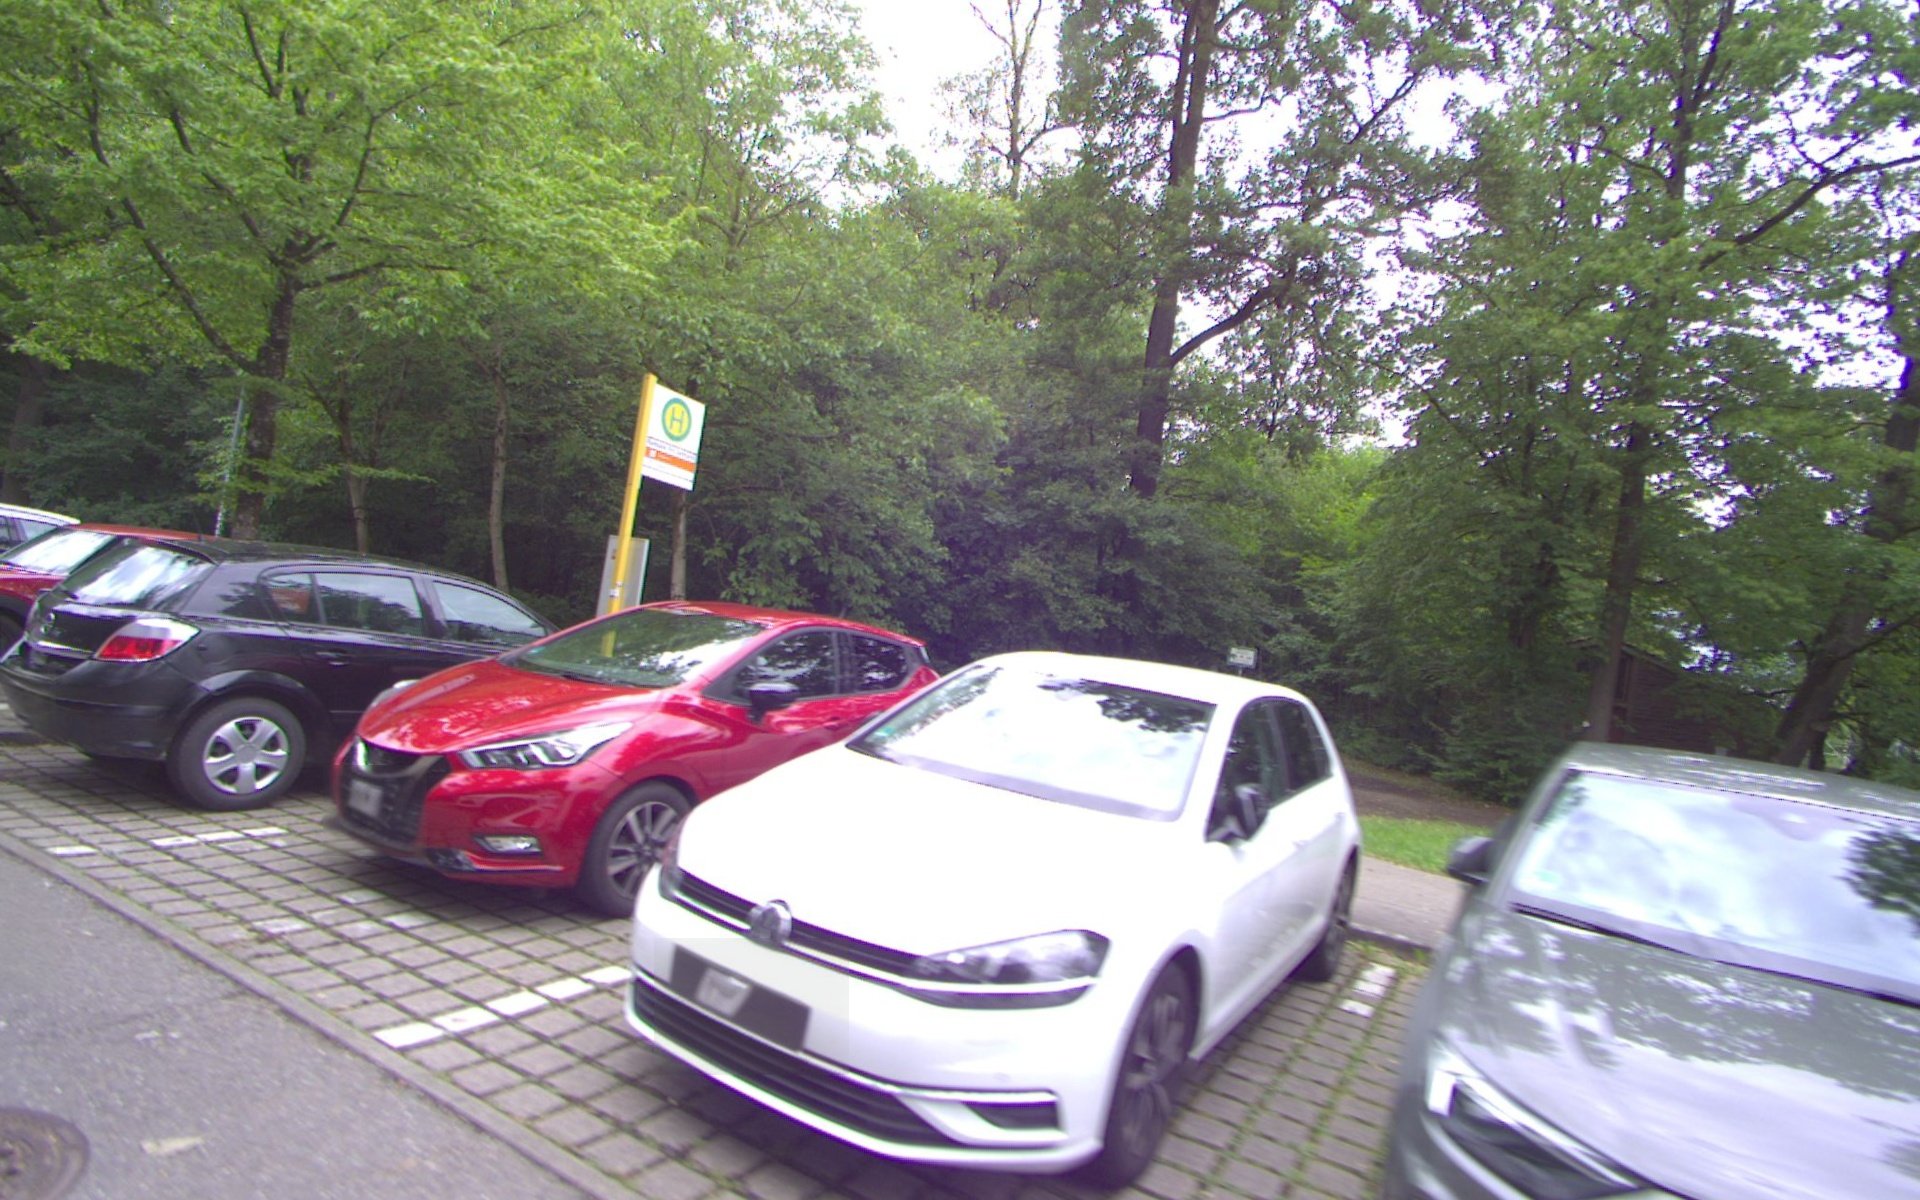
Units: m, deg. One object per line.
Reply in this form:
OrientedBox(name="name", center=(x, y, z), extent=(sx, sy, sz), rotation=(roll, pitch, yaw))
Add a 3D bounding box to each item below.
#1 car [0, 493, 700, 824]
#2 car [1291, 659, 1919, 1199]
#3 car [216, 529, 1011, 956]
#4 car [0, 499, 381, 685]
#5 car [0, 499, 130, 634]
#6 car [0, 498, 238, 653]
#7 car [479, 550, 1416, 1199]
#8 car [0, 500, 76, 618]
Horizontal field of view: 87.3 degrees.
OrientedBox(name="car", center=(-3.982, 0.393, 6.882), extent=(1.890, 1.500, 3.996), rotation=(7, -2, 30))
OrientedBox(name="car", center=(2.472, 1.197, 3.170), extent=(1.846, 1.499, 3.998), rotation=(6, -5, 31))
OrientedBox(name="car", center=(-1.553, 0.714, 6.083), extent=(1.887, 1.497, 4.239), rotation=(6, -2, 30))
OrientedBox(name="car", center=(-8.122, -0.074, 9.623), extent=(1.906, 1.466, 3.999), rotation=(7, -2, 26))
OrientedBox(name="car", center=(-12.520, -0.572, 11.874), extent=(1.720, 1.528, 3.713), rotation=(6, -2, 26))
OrientedBox(name="car", center=(-10.507, -0.366, 10.689), extent=(1.833, 1.478, 4.138), rotation=(6, -2, 28))
OrientedBox(name="car", center=(0.646, 0.931, 4.605), extent=(1.822, 1.493, 4.780), rotation=(8, -2, 33))
OrientedBox(name="car", center=(-14.317, -0.771, 13.010), extent=(1.699, 1.563, 3.856), rotation=(7, -2, 24))
